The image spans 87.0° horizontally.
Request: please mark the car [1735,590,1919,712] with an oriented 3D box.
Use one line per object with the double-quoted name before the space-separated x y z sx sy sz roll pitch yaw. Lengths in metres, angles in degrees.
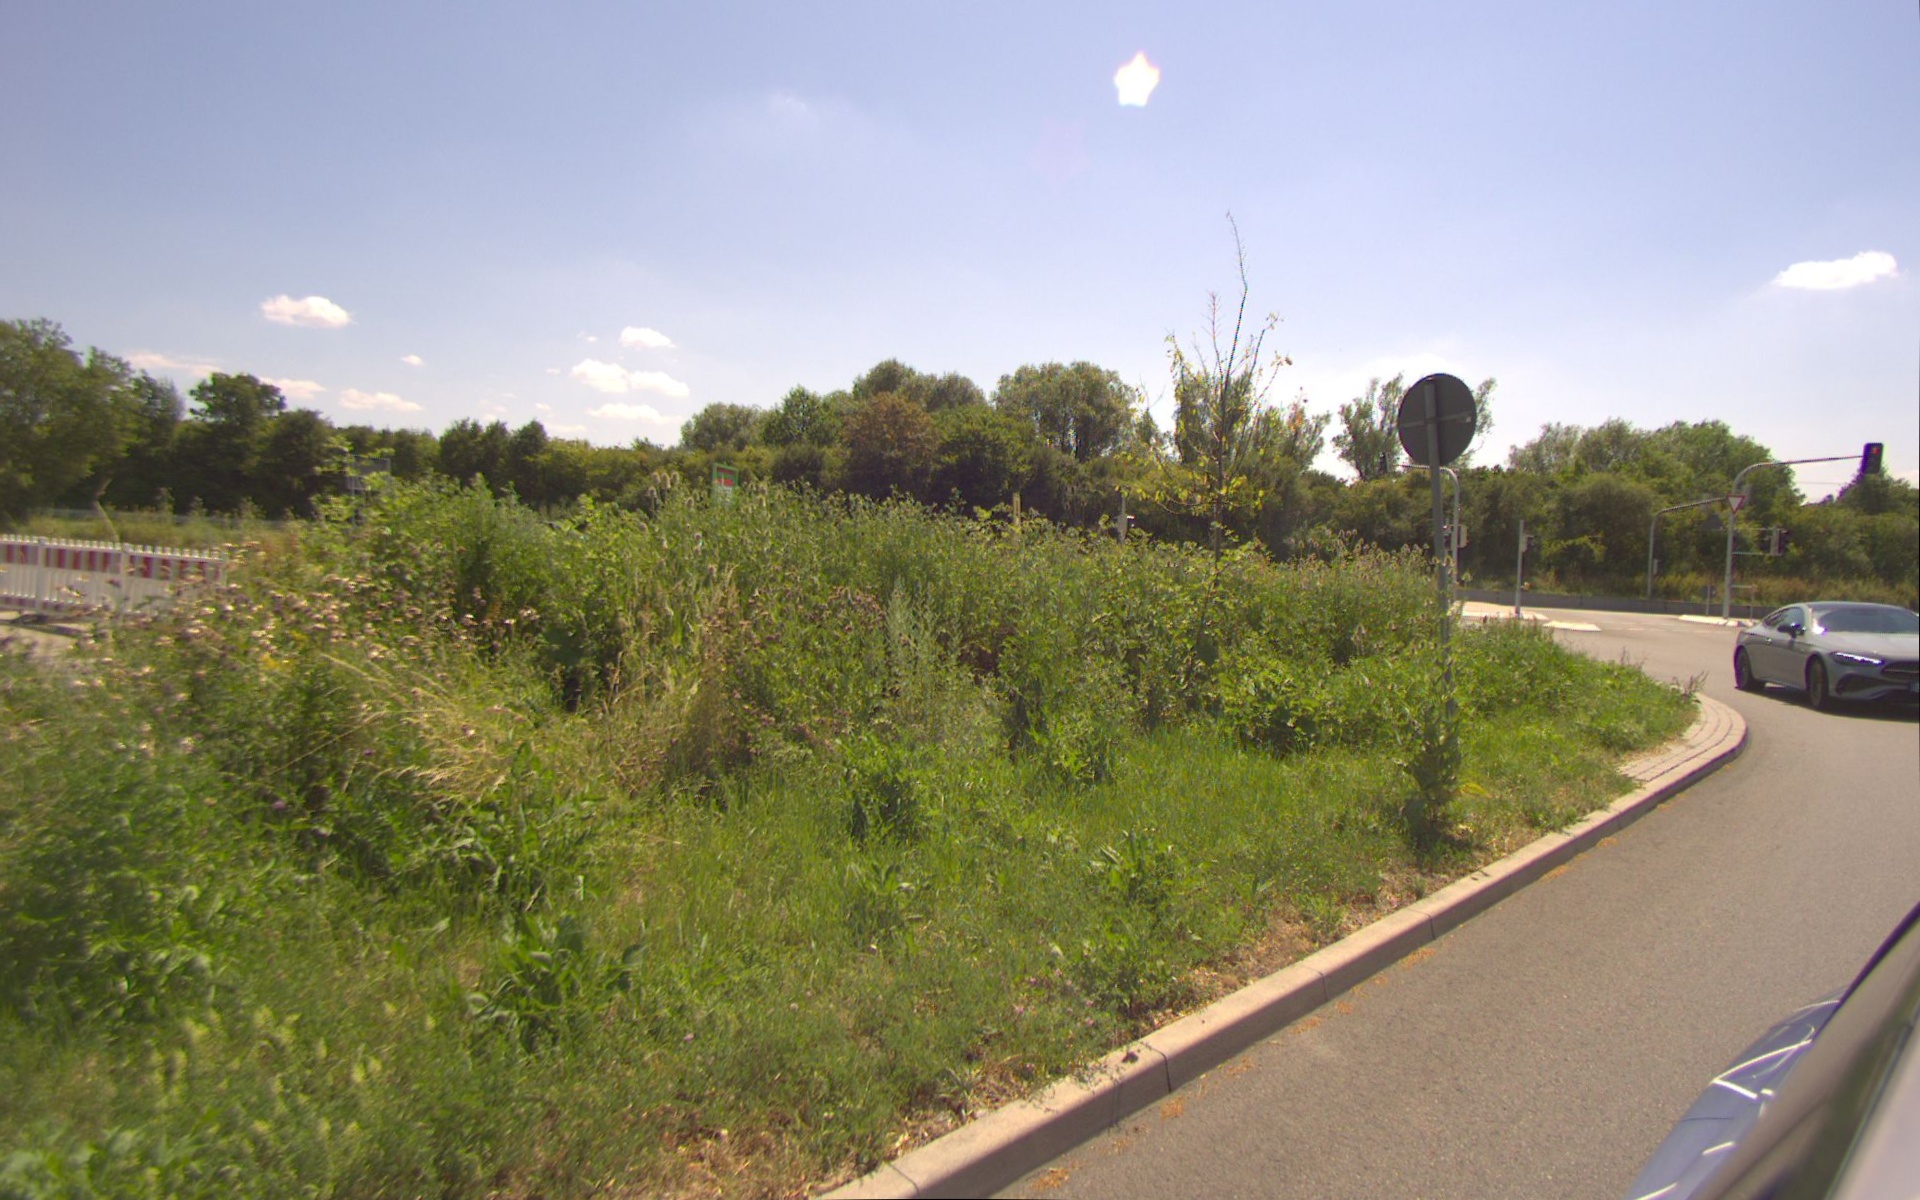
"car" 12.874 0.613 14.334 1.901 1.460 4.448 1 1 23
